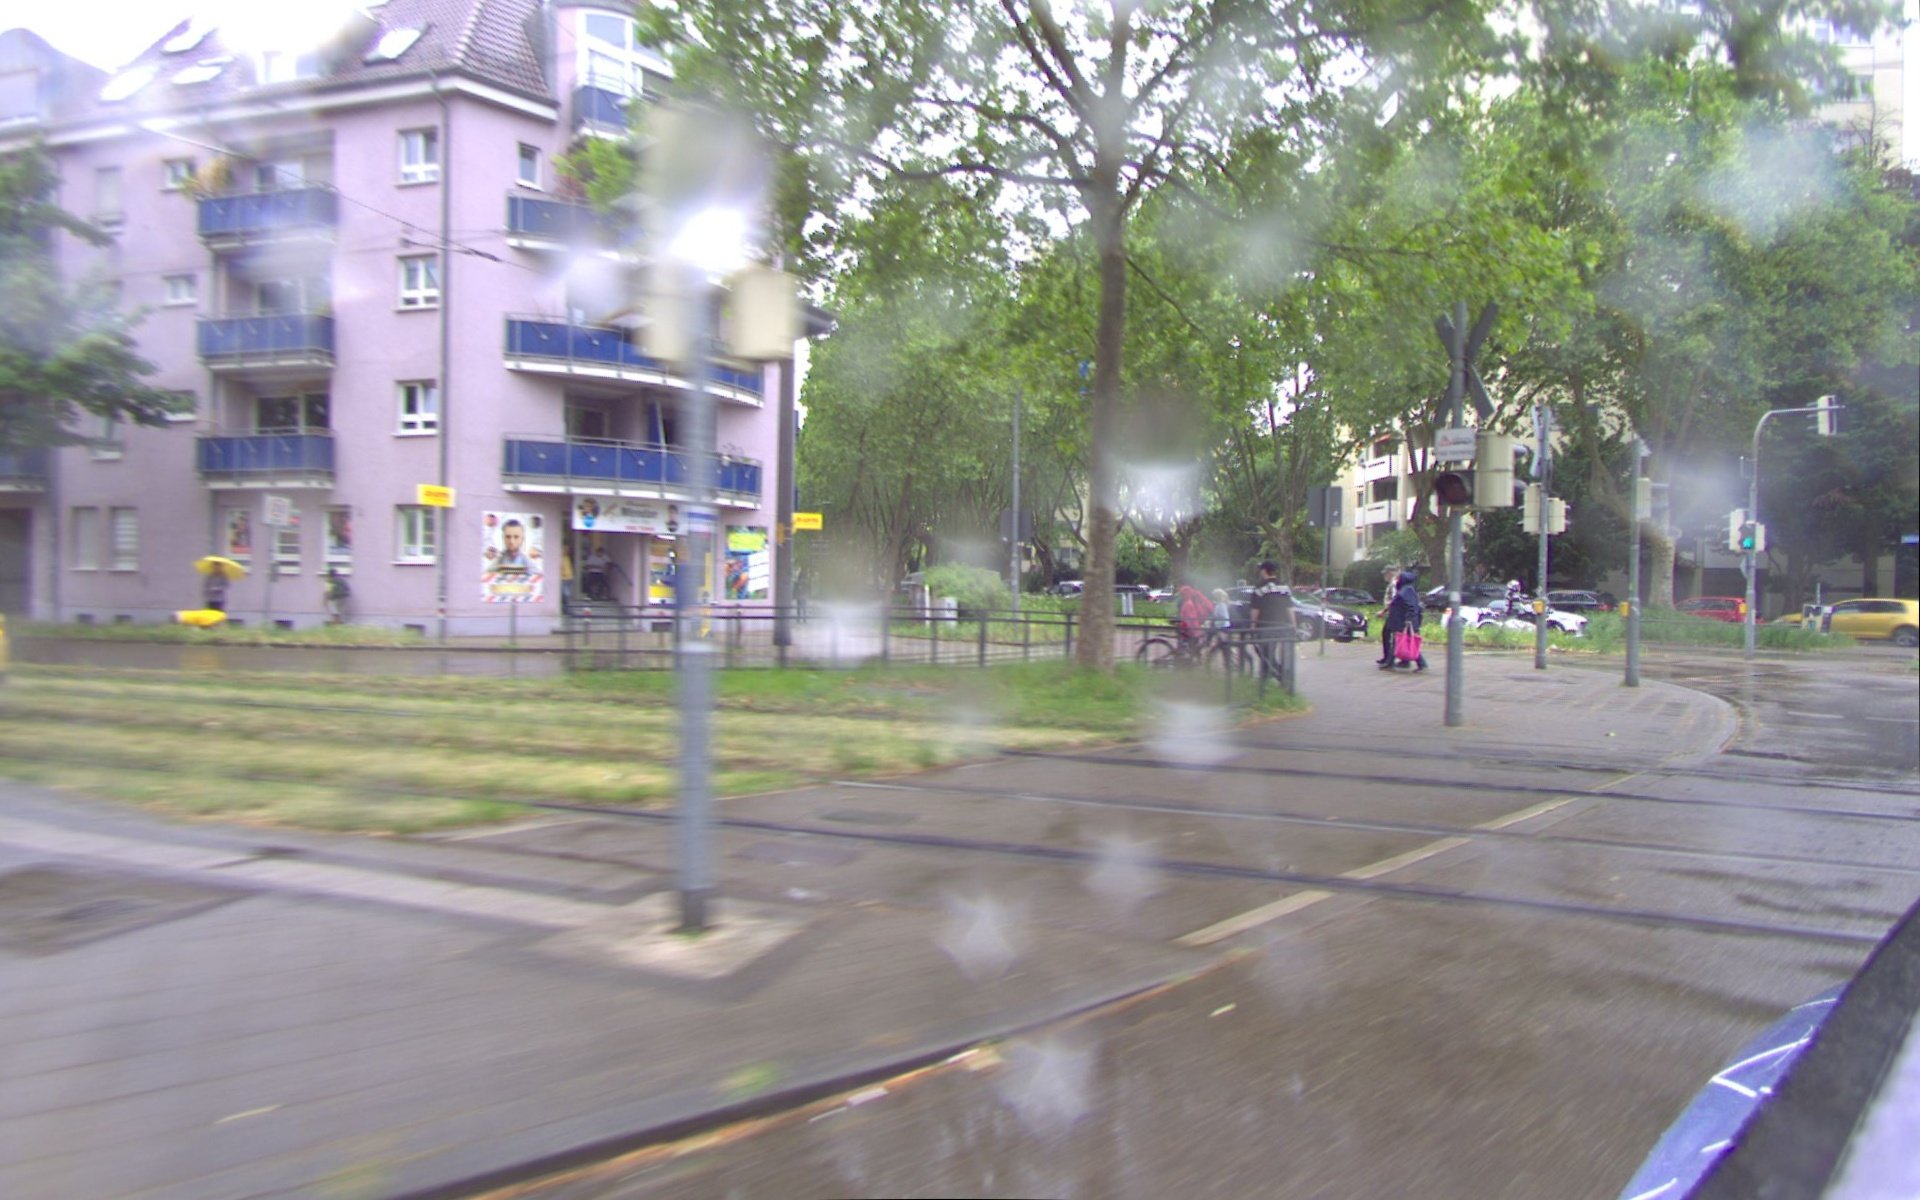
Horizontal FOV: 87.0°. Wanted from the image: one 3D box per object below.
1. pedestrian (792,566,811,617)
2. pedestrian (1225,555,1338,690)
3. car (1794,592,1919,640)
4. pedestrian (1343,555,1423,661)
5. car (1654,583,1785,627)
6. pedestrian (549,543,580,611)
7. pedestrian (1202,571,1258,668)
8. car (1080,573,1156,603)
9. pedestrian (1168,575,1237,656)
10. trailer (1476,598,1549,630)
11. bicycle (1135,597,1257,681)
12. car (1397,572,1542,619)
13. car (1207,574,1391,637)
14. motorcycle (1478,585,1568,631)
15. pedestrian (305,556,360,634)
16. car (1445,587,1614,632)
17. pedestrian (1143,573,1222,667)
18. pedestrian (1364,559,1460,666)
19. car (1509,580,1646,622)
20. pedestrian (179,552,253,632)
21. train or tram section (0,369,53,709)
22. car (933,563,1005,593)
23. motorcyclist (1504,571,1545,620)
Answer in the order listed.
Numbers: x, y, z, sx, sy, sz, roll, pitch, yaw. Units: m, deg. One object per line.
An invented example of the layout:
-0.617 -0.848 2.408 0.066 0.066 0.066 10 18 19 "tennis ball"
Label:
-5.775 -0.311 36.833 0.629 1.826 0.623 1 1 -8 "pedestrian"
4.516 0.291 14.306 1.016 1.811 1.239 0 0 -12 "pedestrian"
28.405 0.458 31.133 1.965 1.385 3.994 0 1 -40 "car"
7.451 0.129 17.860 0.795 1.803 0.996 1 1 -27 "pedestrian"
28.022 0.163 37.417 1.806 1.544 3.463 0 0 -32 "car"
-9.551 -0.549 24.438 0.591 1.622 0.466 0 0 41 "pedestrian"
4.544 0.310 17.019 0.754 1.567 0.686 2 1 28 "pedestrian"
8.976 -0.684 57.779 3.920 1.676 2.002 0 0 -4 "car"
4.352 0.255 18.169 1.006 1.399 0.663 2 1 41 "pedestrian"
15.256 0.377 27.971 1.007 0.852 1.483 0 0 -33 "trailer"
3.246 0.512 14.016 1.609 1.090 0.440 1 0 37 "bicycle"
19.019 -0.180 37.890 4.511 1.685 1.877 0 0 -5 "car"
8.712 0.097 26.278 1.958 1.479 4.176 0 1 -37 "car"
15.938 0.207 28.686 0.864 1.230 2.075 0 0 -34 "motorcycle"
-14.057 -0.124 22.698 0.674 1.718 0.821 1 1 11 "pedestrian"
17.405 0.255 31.075 1.869 1.291 4.168 0 0 -39 "car"
3.844 0.321 17.491 1.059 1.544 0.867 2 1 37 "pedestrian"
7.477 0.192 16.781 0.975 1.707 1.058 1 1 -16 "pedestrian"
25.373 0.004 41.733 1.901 1.628 4.460 0 0 -29 "car"
-16.346 -0.182 22.256 0.908 1.718 0.952 1 1 14 "pedestrian"
-13.811 -0.644 10.538 8.261 3.412 2.632 0 0 17 "train or tram section"
0.747 -1.785 82.971 5.536 2.431 2.219 1 0 21 "car"
15.969 -0.121 28.624 0.743 1.368 0.755 0 0 -35 "motorcyclist"
